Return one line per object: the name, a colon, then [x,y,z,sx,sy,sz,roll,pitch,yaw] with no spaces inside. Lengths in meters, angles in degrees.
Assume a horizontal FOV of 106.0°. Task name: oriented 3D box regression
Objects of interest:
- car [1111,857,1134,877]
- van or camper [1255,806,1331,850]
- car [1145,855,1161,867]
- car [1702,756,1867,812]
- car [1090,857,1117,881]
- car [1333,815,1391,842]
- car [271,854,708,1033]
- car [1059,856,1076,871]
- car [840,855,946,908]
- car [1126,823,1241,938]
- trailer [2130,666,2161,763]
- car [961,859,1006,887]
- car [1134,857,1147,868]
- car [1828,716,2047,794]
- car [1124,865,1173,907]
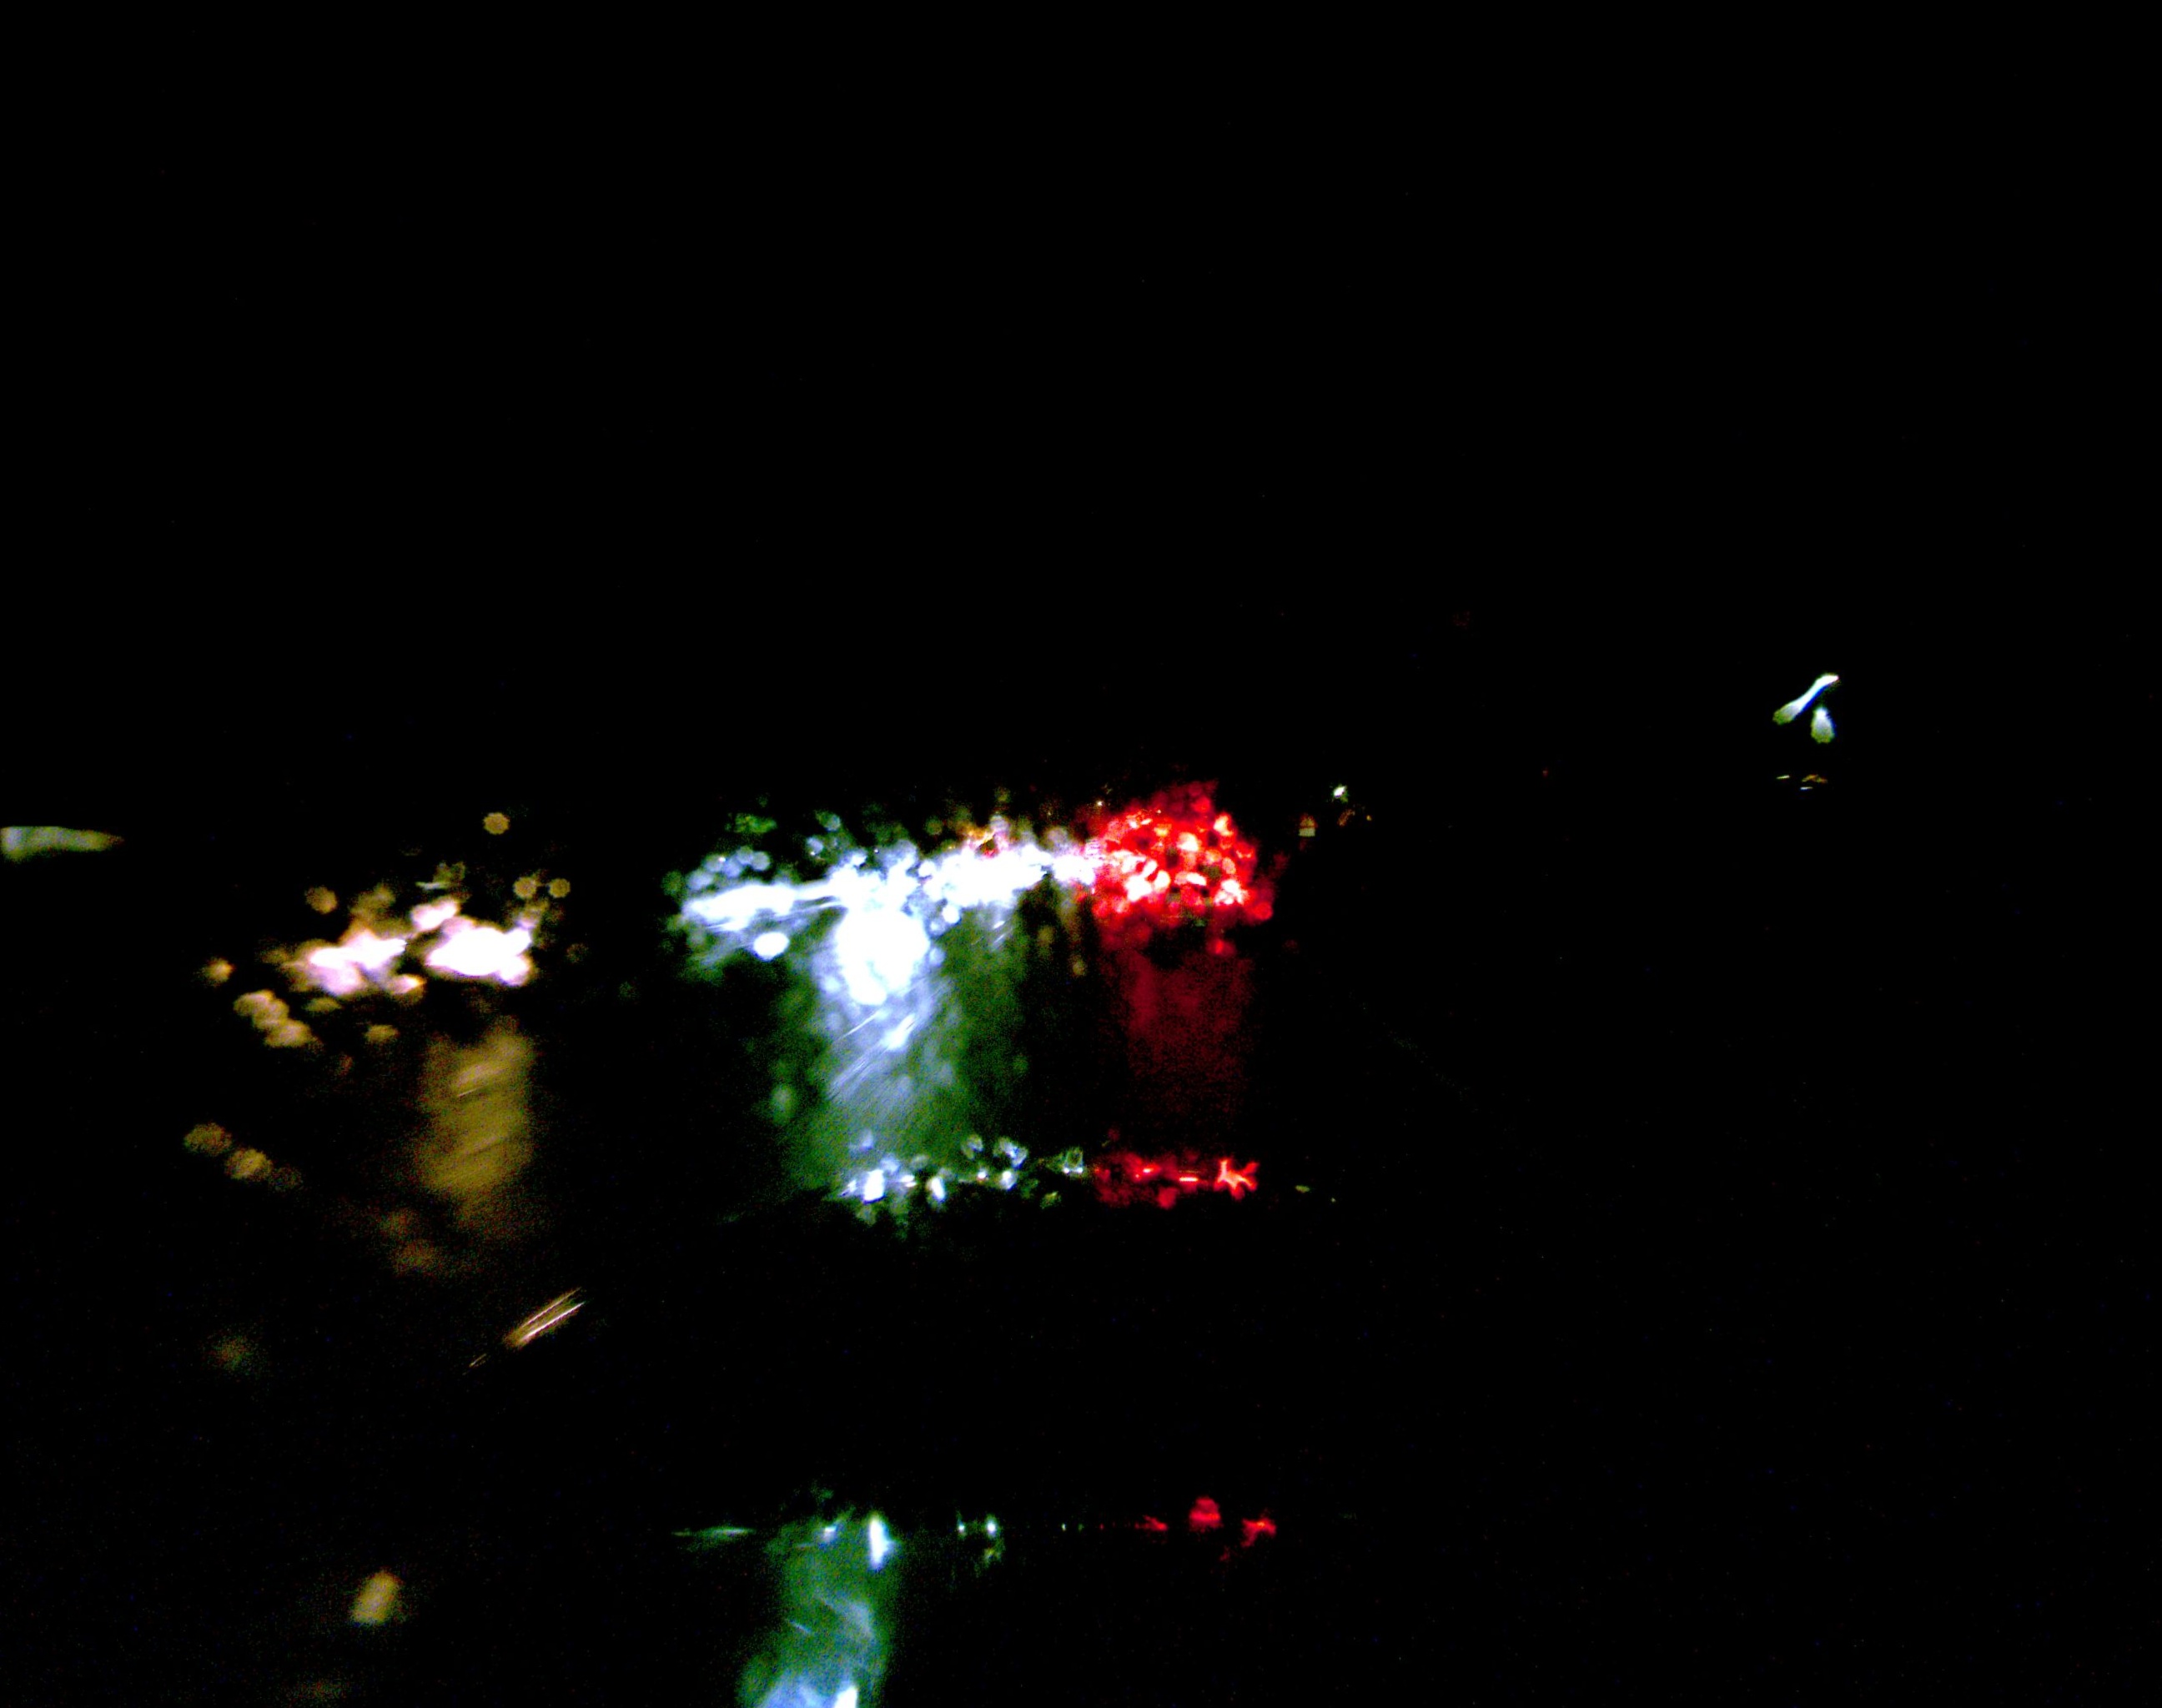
car: [3.609,1.089,70.524,1.700,1.638,3.736,-2,0,6]
van or camper: [15.207,-1.794,59.010,2.584,2.908,6.328,-1,0,-14]
car: [8.599,0.857,97.189,1.654,1.450,4.058,-1,-1,7]
car: [23.134,-2.243,26.988,1.613,1.472,3.984,0,-1,-12]
car: [1.575,1.022,56.072,1.687,1.630,3.856,0,-1,3]
car: [18.013,-1.612,52.335,1.637,1.618,4.117,0,0,-12]
car: [-6.058,0.779,9.071,1.872,1.537,3.989,0,0,1]
car: [-1.395,0.964,83.987,1.689,1.434,4.293,0,0,0]
car: [-5.670,0.774,25.289,2.070,1.449,4.992,0,0,1]
car: [1.906,0.449,16.015,1.933,1.972,4.223,0,0,4]
trailer: [25.158,-3.128,15.689,2.225,2.072,5.702,-1,-1,-9]
car: [-5.453,1.050,46.165,1.911,1.444,4.546,0,0,1]
car: [8.156,1.120,111.363,1.655,1.450,4.055,0,-1,5]
car: [23.810,-2.689,22.861,1.613,1.640,3.984,0,-1,-12]
car: [2.677,1.183,31.501,1.759,1.450,4.226,0,0,6]
